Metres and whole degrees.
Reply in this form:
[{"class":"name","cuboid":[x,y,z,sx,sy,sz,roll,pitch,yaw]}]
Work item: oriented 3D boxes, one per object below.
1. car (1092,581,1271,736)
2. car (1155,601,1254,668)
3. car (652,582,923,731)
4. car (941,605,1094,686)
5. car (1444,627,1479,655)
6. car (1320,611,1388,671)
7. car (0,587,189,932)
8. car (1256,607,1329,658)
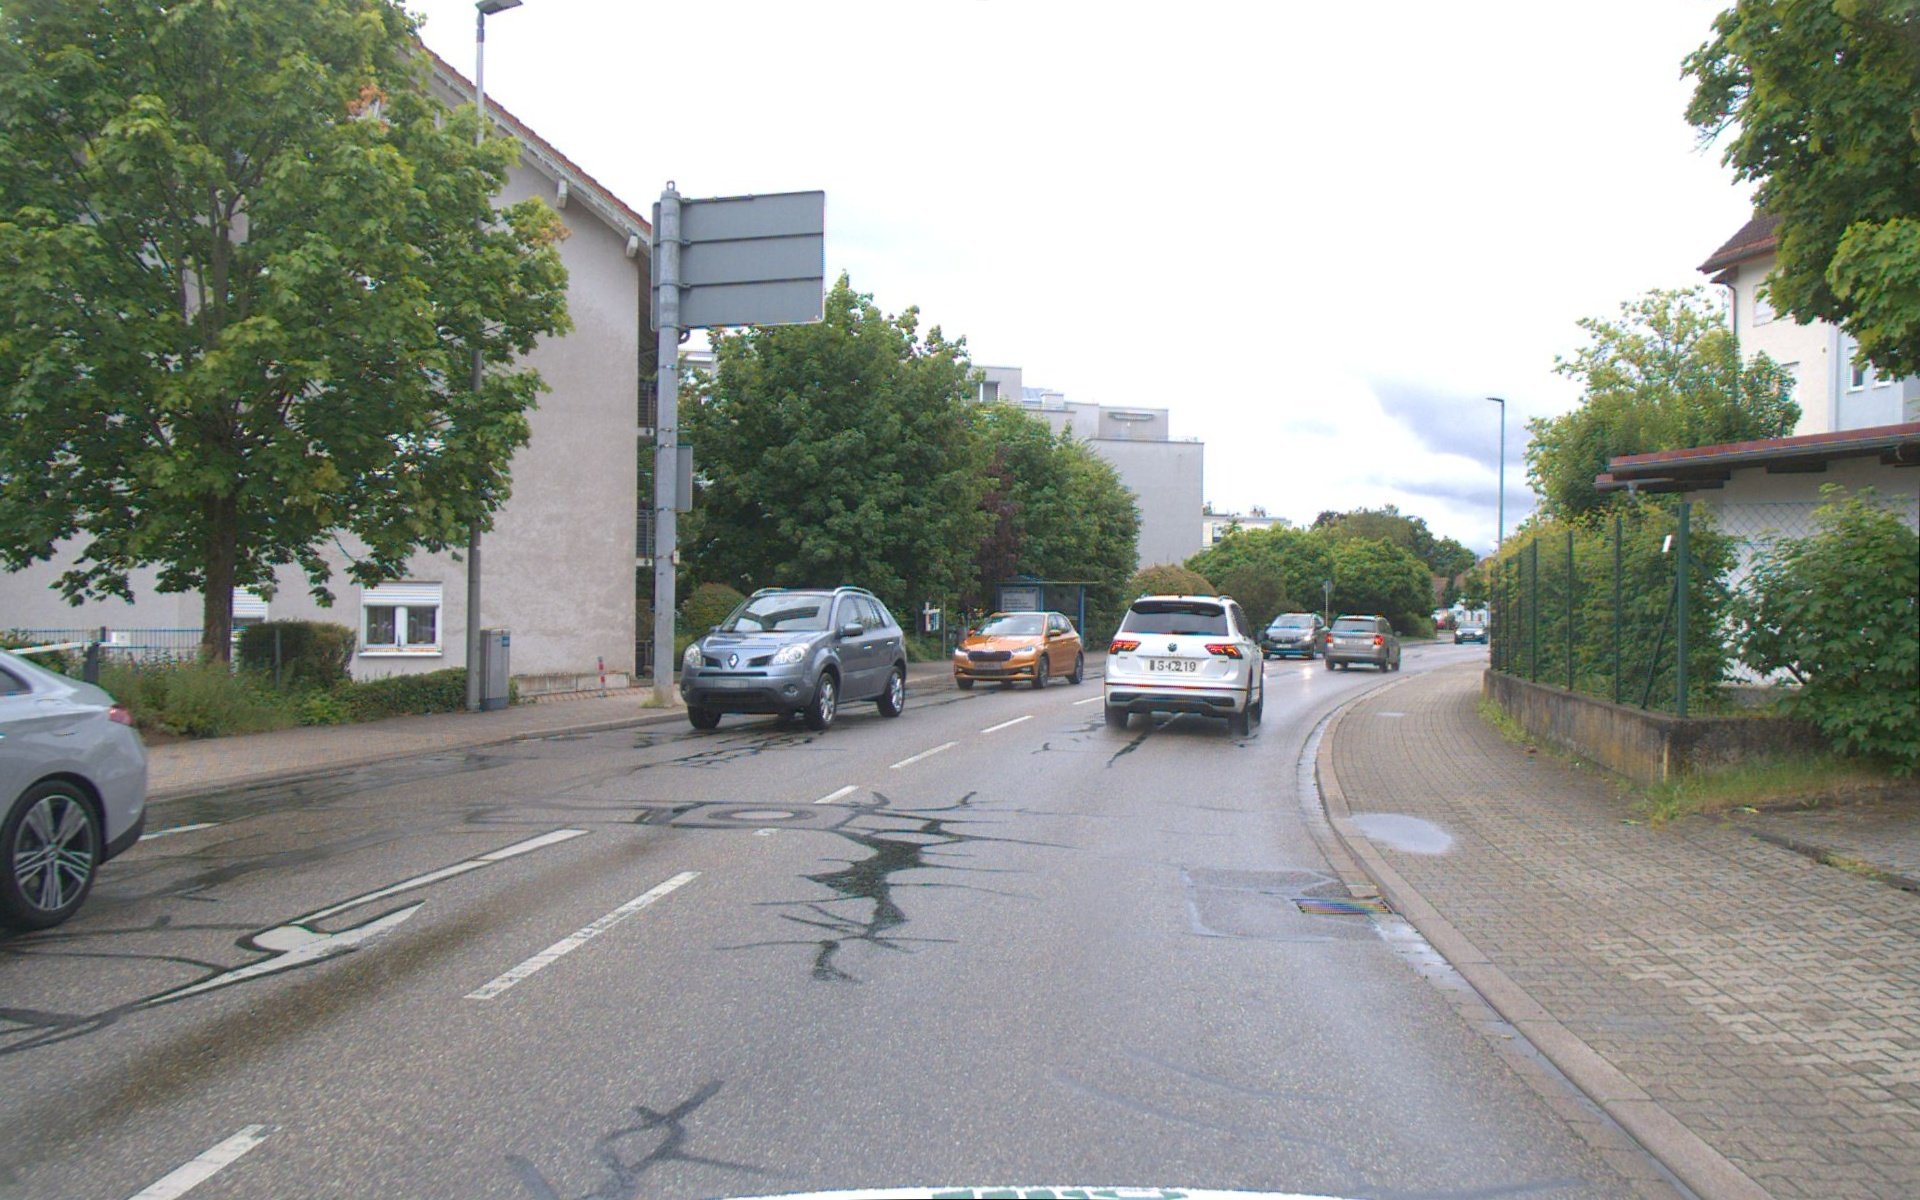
[{"class":"car","cuboid":[3.013,0.697,21.712,1.880,1.752,4.268,2,0,13]},{"class":"car","cuboid":[6.543,0.895,43.910,1.862,1.686,4.116,0,-1,19]},{"class":"car","cuboid":[-2.054,0.646,21.083,1.862,1.686,4.268,0,0,18]},{"class":"car","cuboid":[1.202,0.865,32.363,1.862,1.465,4.116,0,-1,19]},{"class":"car","cuboid":[30.825,2.507,101.560,1.862,1.686,4.116,0,-1,20]},{"class":"car","cuboid":[10.837,1.159,45.428,1.727,1.536,4.002,1,-3,14]},{"class":"car","cuboid":[-5.053,0.662,6.031,1.861,1.415,4.493,1,1,9]},{"class":"car","cuboid":[11.171,1.087,55.401,1.862,1.617,4.116,0,-1,19]}]
